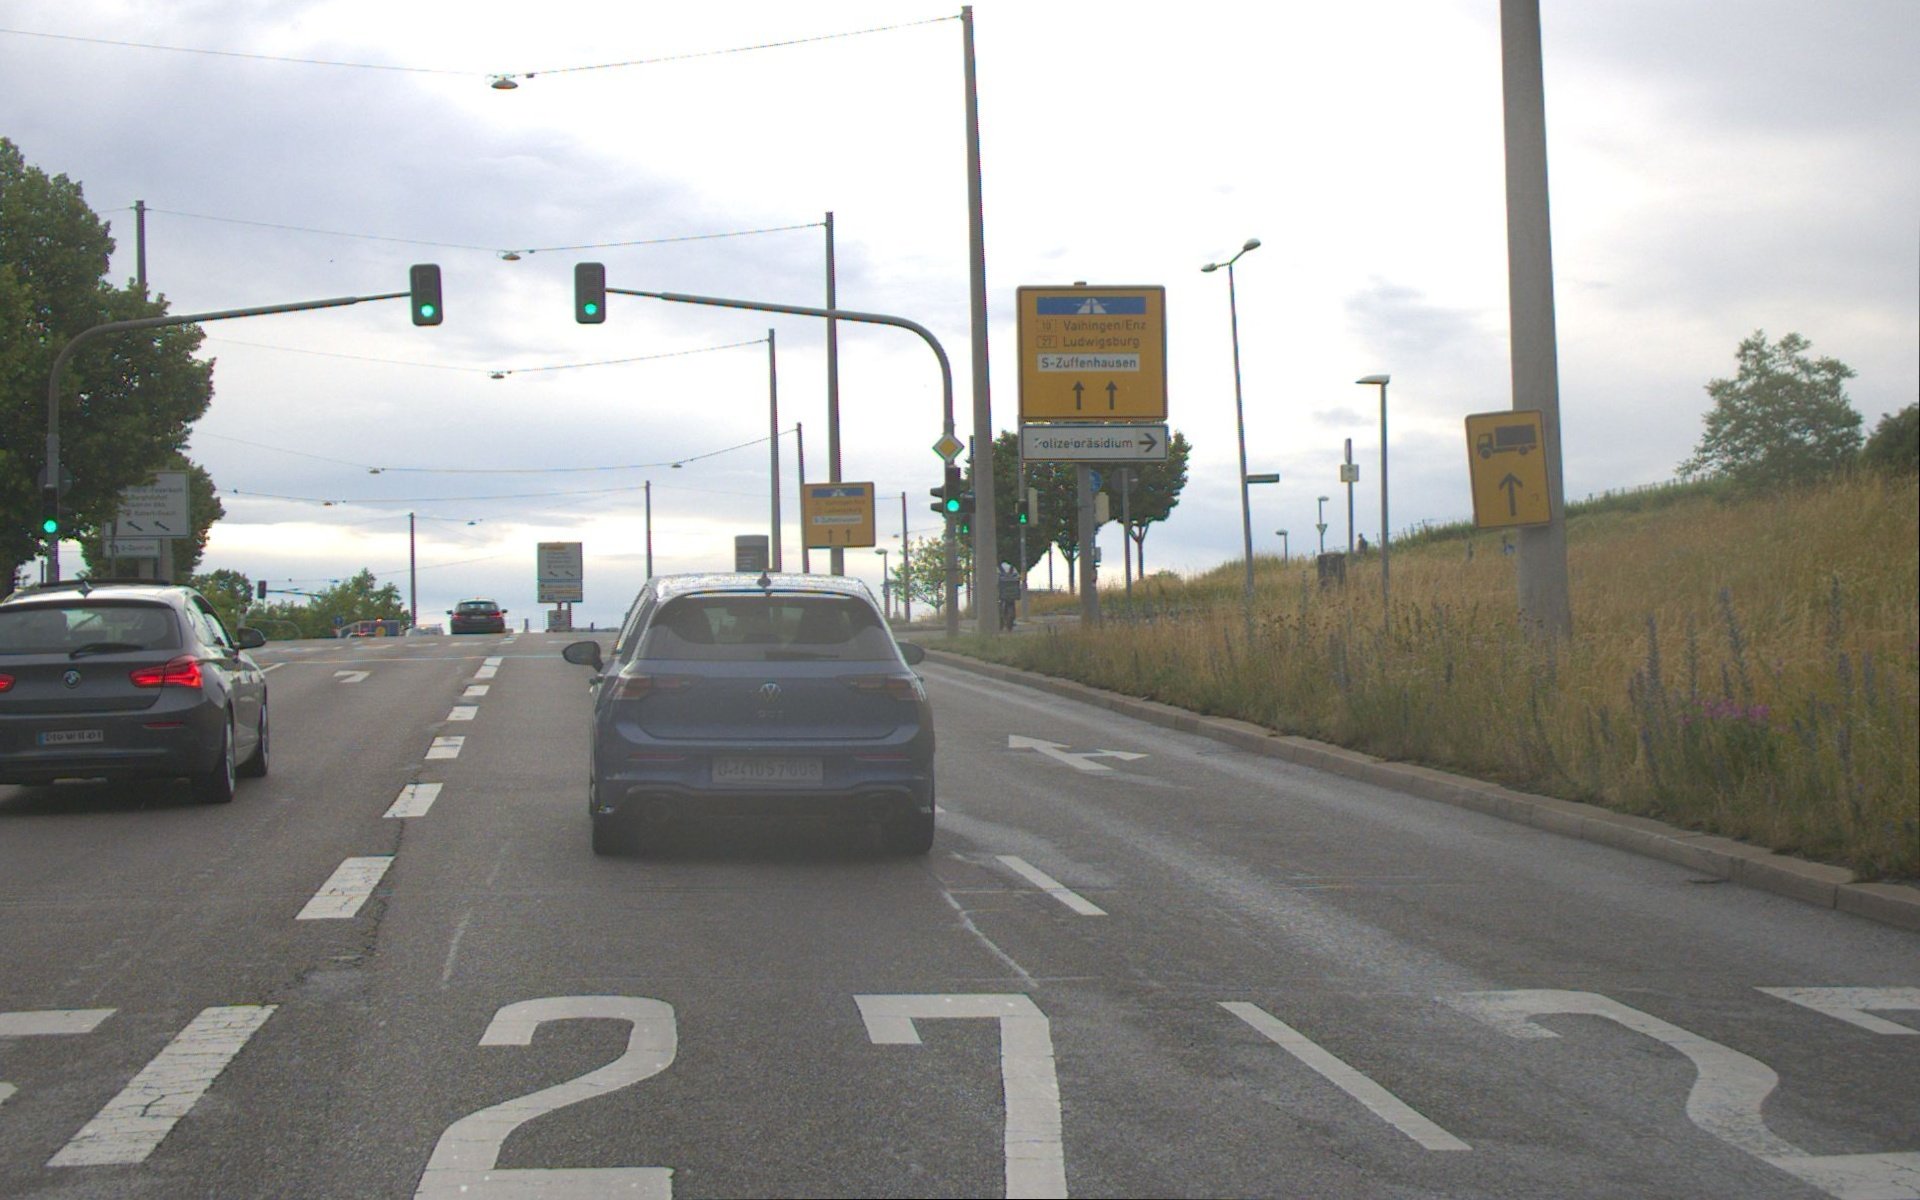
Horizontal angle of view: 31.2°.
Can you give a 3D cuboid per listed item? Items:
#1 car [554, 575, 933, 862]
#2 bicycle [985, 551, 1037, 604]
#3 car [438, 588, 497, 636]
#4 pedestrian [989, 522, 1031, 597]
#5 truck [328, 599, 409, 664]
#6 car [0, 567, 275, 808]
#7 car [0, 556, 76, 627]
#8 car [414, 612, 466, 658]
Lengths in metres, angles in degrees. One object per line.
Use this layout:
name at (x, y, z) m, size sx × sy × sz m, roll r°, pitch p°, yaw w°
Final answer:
car at (-1.265, 0.577, 18.830) m, size 1.837 × 1.389 × 4.001 m, roll 1°, pitch 0°, yaw -6°
bicycle at (1.078, -0.476, 72.851) m, size 0.632 × 1.101 × 1.754 m, roll -2°, pitch 1°, yaw -15°
car at (-16.623, 0.385, 116.063) m, size 1.721 × 1.536 × 3.704 m, roll 1°, pitch 0°, yaw -5°
pedestrian at (1.056, -0.860, 72.870) m, size 0.632 × 1.565 × 0.896 m, roll -2°, pitch 0°, yaw -14°
truck at (-30.947, 1.694, 179.687) m, size 2.666 × 3.209 × 6.549 m, roll 1°, pitch -2°, yaw -24°
car at (-5.679, 0.520, 22.969) m, size 1.869 × 1.456 × 3.977 m, roll -1°, pitch 1°, yaw -7°
car at (-22.764, -0.219, 82.825) m, size 1.889 × 1.502 × 4.001 m, roll 1°, pitch 3°, yaw -29°
car at (-24.852, 1.670, 164.227) m, size 1.904 × 1.966 × 5.093 m, roll -2°, pitch -2°, yaw -14°
